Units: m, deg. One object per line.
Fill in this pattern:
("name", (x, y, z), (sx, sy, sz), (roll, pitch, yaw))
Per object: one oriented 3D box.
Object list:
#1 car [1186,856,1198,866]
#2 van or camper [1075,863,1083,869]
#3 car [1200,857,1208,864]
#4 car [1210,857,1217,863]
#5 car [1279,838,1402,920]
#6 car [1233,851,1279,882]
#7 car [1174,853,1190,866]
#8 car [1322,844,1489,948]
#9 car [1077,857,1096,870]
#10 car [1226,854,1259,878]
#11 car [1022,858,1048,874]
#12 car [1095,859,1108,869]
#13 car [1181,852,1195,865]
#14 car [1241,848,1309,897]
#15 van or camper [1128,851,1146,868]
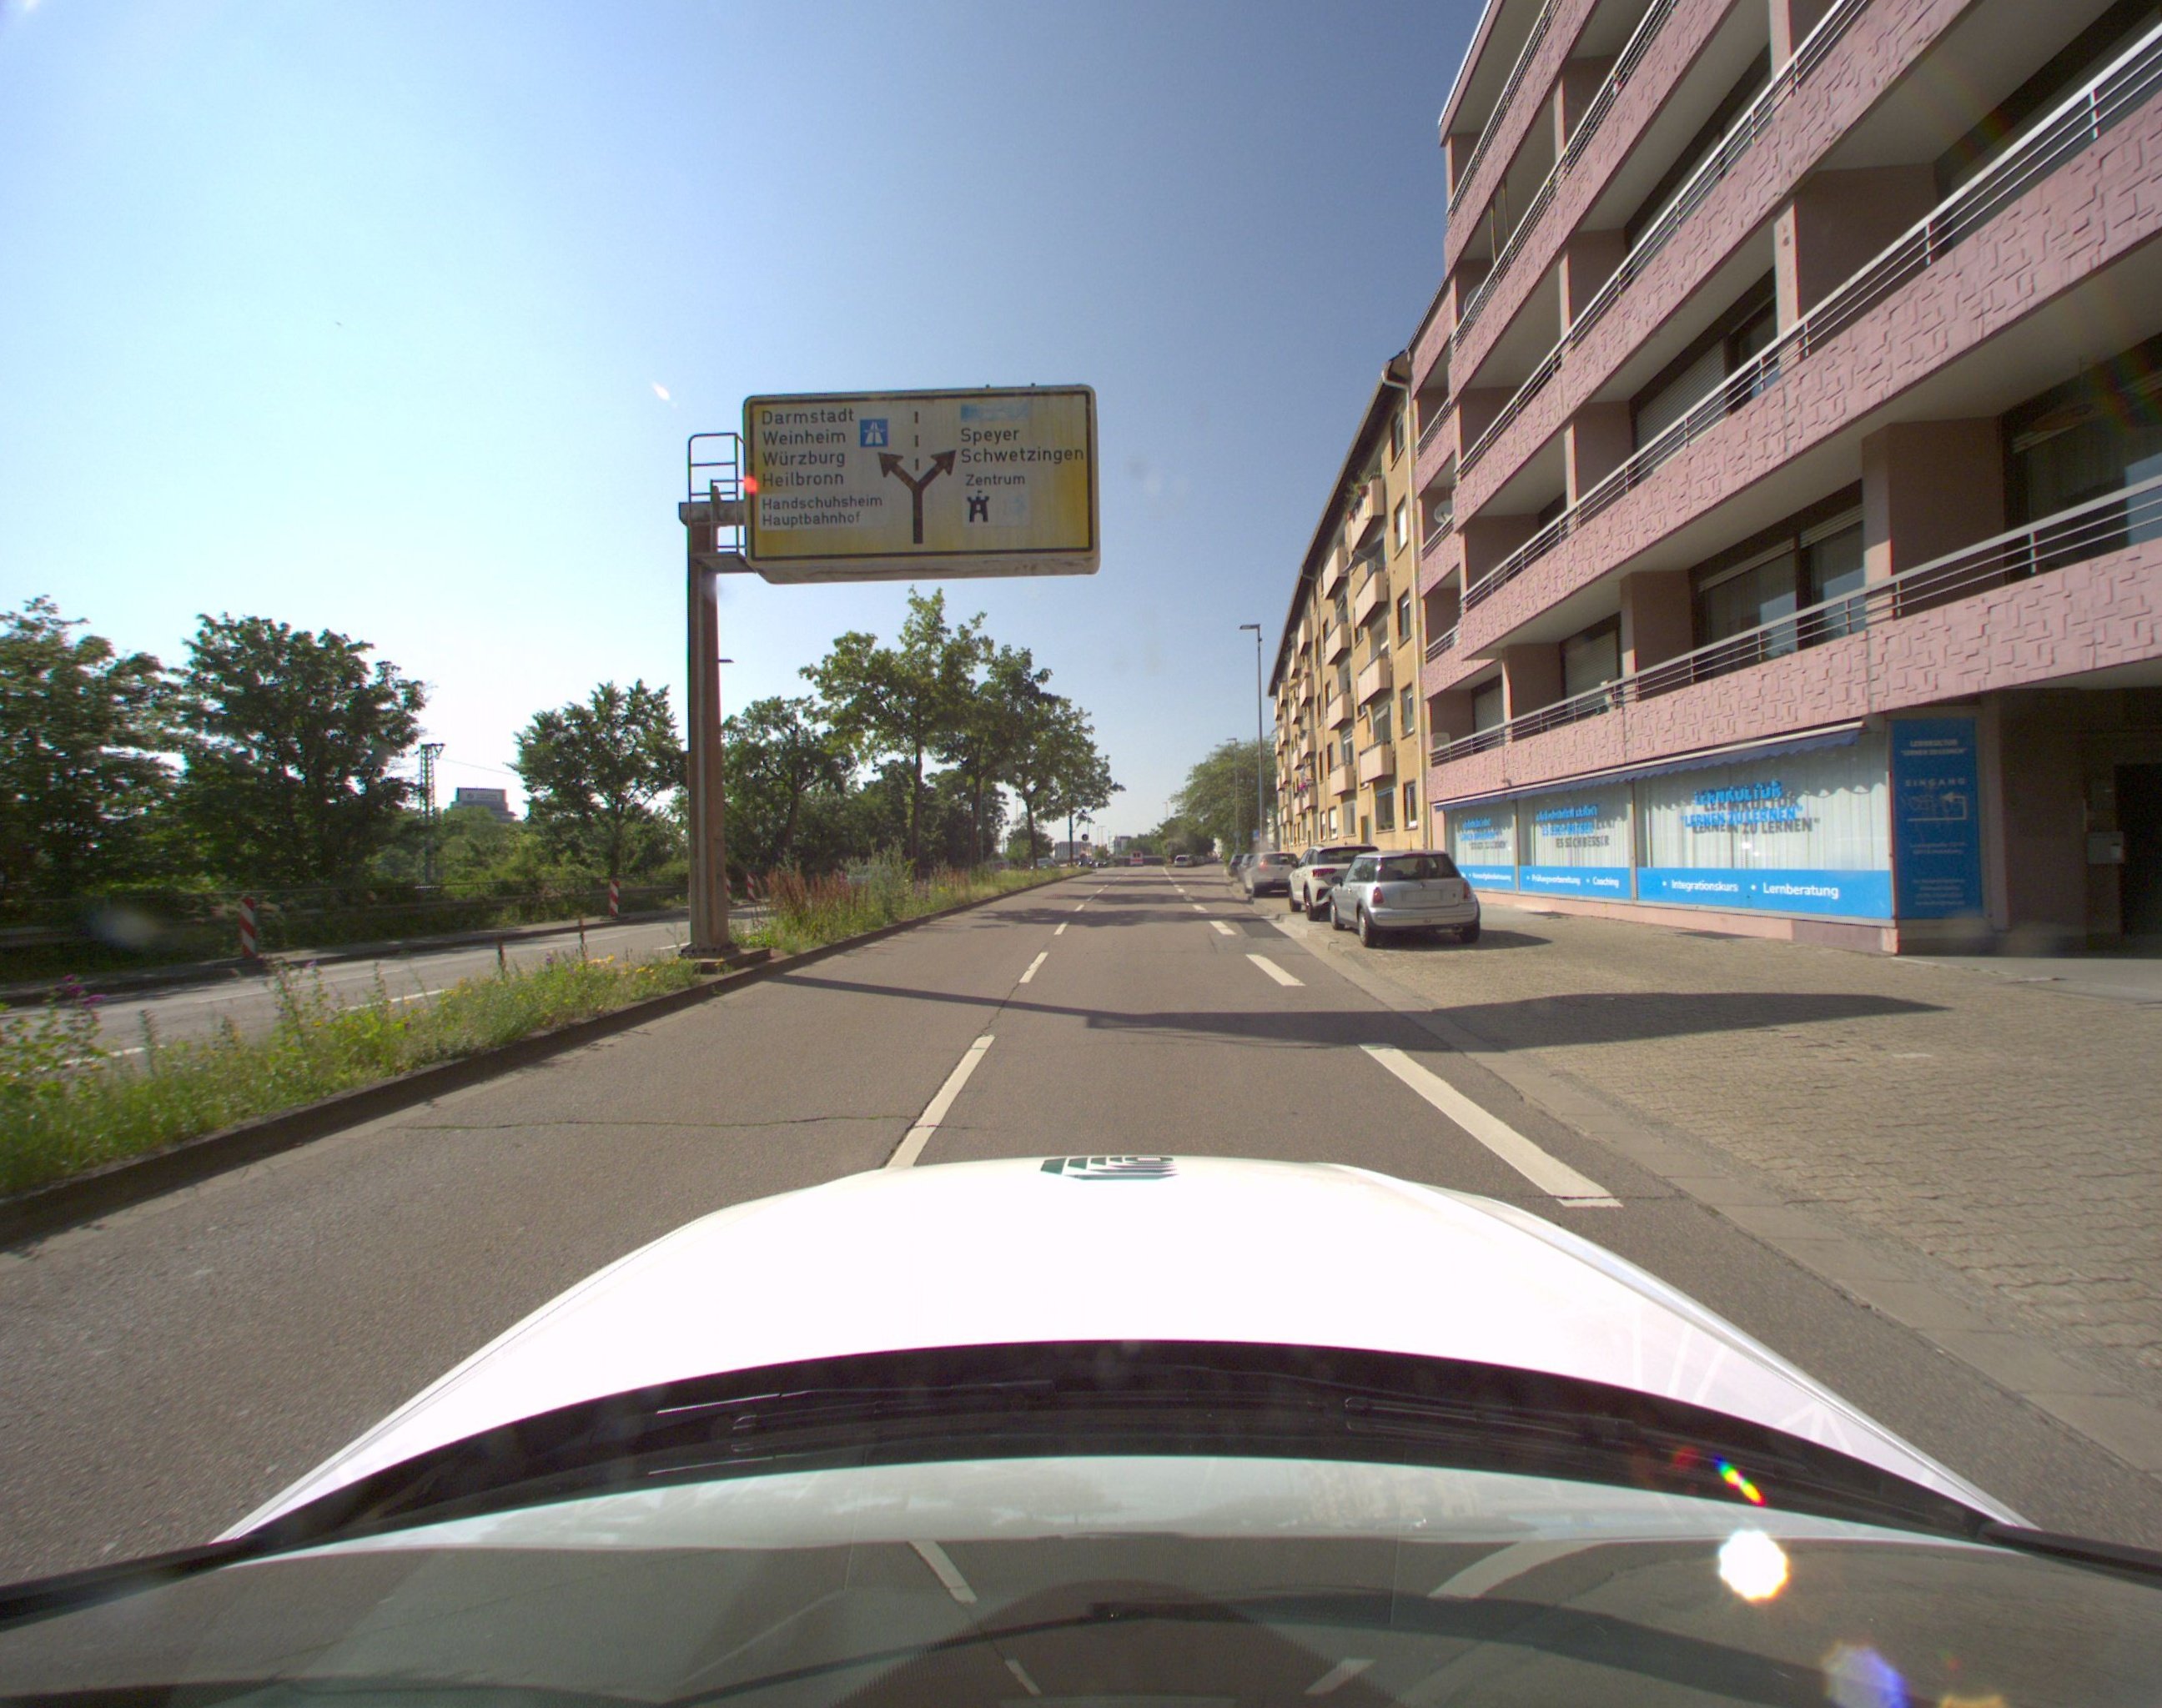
("car", (17.041, 1.018, 124.710), (1.653, 1.473, 3.801), (1, 0, 11))
("van or camper", (-0.553, 2.733, 191.225), (1.460, 1.350, 4.636), (-1, 0, 4))
("car", (27.663, 1.503, 182.833), (1.653, 1.509, 4.020), (1, 0, 11))
("car", (39.834, 1.872, 244.932), (1.981, 1.657, 4.011), (-1, -1, 10))
("car", (5.590, 0.504, 18.077), (1.727, 1.541, 4.361), (-2, 0, 6))
("car", (8.913, 0.632, 41.816), (1.791, 1.438, 4.598), (-2, 0, 6))
("car", (12.355, 0.656, 99.293), (1.609, 1.505, 3.472), (-3, 0, 11))
("car", (5.130, 0.604, 13.357), (1.669, 1.409, 3.437), (-4, 0, 7))
("car", (0.652, 1.122, 98.640), (1.754, 1.474, 4.092), (-3, 0, 7))
("car", (10.329, 0.741, 52.305), (1.701, 1.462, 4.264), (-2, 0, 7))
("car", (-4.347, 1.126, 77.883), (1.788, 1.530, 4.007), (-1, 0, 7))
("car", (3.638, 1.750, 143.431), (1.984, 1.734, 4.737), (-1, 0, 6))
("car", (14.373, 0.598, 109.221), (1.762, 1.579, 4.195), (-3, 0, 8))
("car", (6.655, 0.601, 28.326), (1.747, 1.506, 4.135), (-2, 0, 6))
("van or camper", (9.677, 0.994, 140.660), (2.281, 2.789, 5.588), (-1, -1, 11))
